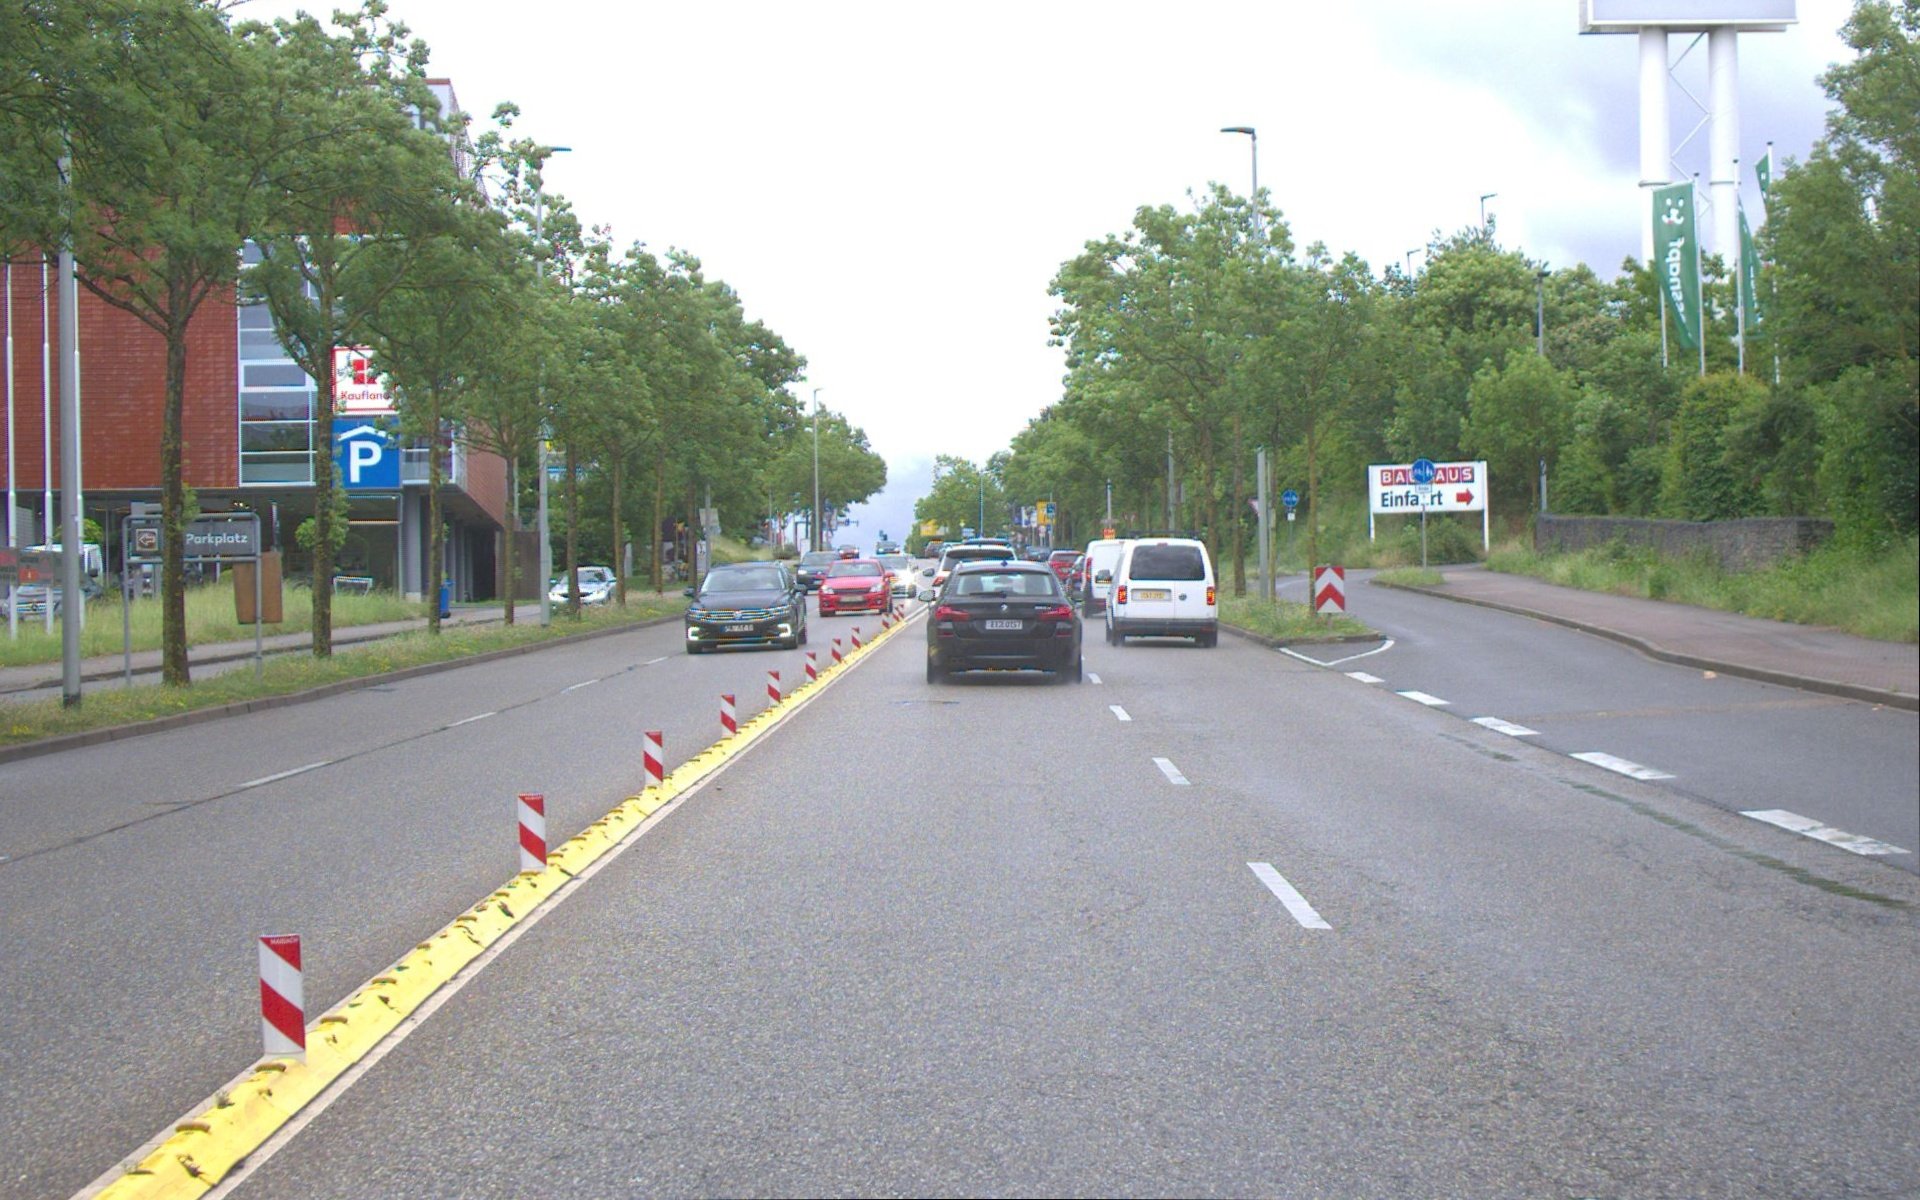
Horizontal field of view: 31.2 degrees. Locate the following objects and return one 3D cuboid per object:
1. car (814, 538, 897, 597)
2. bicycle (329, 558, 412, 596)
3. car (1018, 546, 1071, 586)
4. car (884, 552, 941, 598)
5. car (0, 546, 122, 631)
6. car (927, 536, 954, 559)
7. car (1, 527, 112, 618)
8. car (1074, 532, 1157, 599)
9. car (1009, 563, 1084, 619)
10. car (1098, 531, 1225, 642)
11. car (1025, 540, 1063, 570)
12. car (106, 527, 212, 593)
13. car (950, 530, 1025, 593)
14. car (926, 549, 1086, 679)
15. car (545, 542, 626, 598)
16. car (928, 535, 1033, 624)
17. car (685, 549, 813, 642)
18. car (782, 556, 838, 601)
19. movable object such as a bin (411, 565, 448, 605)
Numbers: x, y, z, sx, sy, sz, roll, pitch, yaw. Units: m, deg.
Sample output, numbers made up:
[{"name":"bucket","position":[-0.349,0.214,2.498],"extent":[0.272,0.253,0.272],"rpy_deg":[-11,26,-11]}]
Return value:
[{"name":"car","position":[-2.607,-0.837,86.717],"extent":[1.762,1.420,4.180],"rpy_deg":[-1,1,2]},{"name":"bicycle","position":[-16.847,-0.652,98.211],"extent":[2.077,0.932,1.093],"rpy_deg":[4,0,5]},{"name":"car","position":[3.336,-1.345,136.052],"extent":[1.794,1.505,4.000],"rpy_deg":[1,0,-2]},{"name":"car","position":[-1.549,-0.833,112.823],"extent":[1.667,1.405,4.377],"rpy_deg":[-3,1,1]},{"name":"car","position":[-20.853,-0.288,79.360],"extent":[2.039,1.756,4.947],"rpy_deg":[0,2,-3]},{"name":"car","position":[-1.394,-3.787,247.927],"extent":[1.794,1.505,4.000],"rpy_deg":[-3,1,1]},{"name":"car","position":[-22.307,-0.715,85.039],"extent":[2.113,2.088,5.124],"rpy_deg":[0,2,-8]},{"name":"car","position":[3.651,-0.800,81.238],"extent":[1.794,1.505,4.000],"rpy_deg":[1,0,1]},{"name":"car","position":[2.376,-0.257,95.679],"extent":[1.794,1.505,4.000],"rpy_deg":[1,0,-2]},{"name":"car","position":[3.354,-0.261,57.880],"extent":[1.827,1.753,4.000],"rpy_deg":[1,1,-1]},{"name":"car","position":[4.347,-2.357,179.182],"extent":[1.794,1.505,4.000],"rpy_deg":[1,0,-1]},{"name":"car","position":[-23.297,-1.181,100.149],"extent":[2.138,1.767,4.609],"rpy_deg":[0,2,-2]},{"name":"car","position":[0.671,-0.953,86.285],"extent":[1.794,1.505,4.000],"rpy_deg":[1,0,0]},{"name":"car","position":[0.567,0.133,41.856],"extent":[1.827,1.463,4.000],"rpy_deg":[-1,1,1]},{"name":"car","position":[-11.352,-0.921,104.386],"extent":[1.867,1.547,4.575],"rpy_deg":[-3,1,0]},{"name":"car","position":[0.377,-0.368,61.856],"extent":[1.794,1.505,4.000],"rpy_deg":[1,0,1]},{"name":"car","position":[-3.511,-0.106,57.877],"extent":[1.827,1.461,4.616],"rpy_deg":[-1,1,0]},{"name":"car","position":[-5.734,-0.826,131.999],"extent":[1.787,1.608,4.436],"rpy_deg":[-3,1,1]},{"name":"movable object such as a bin","position":[-15.311,-0.443,99.228],"extent":[0.819,1.075,1.086],"rpy_deg":[4,1,1]}]
